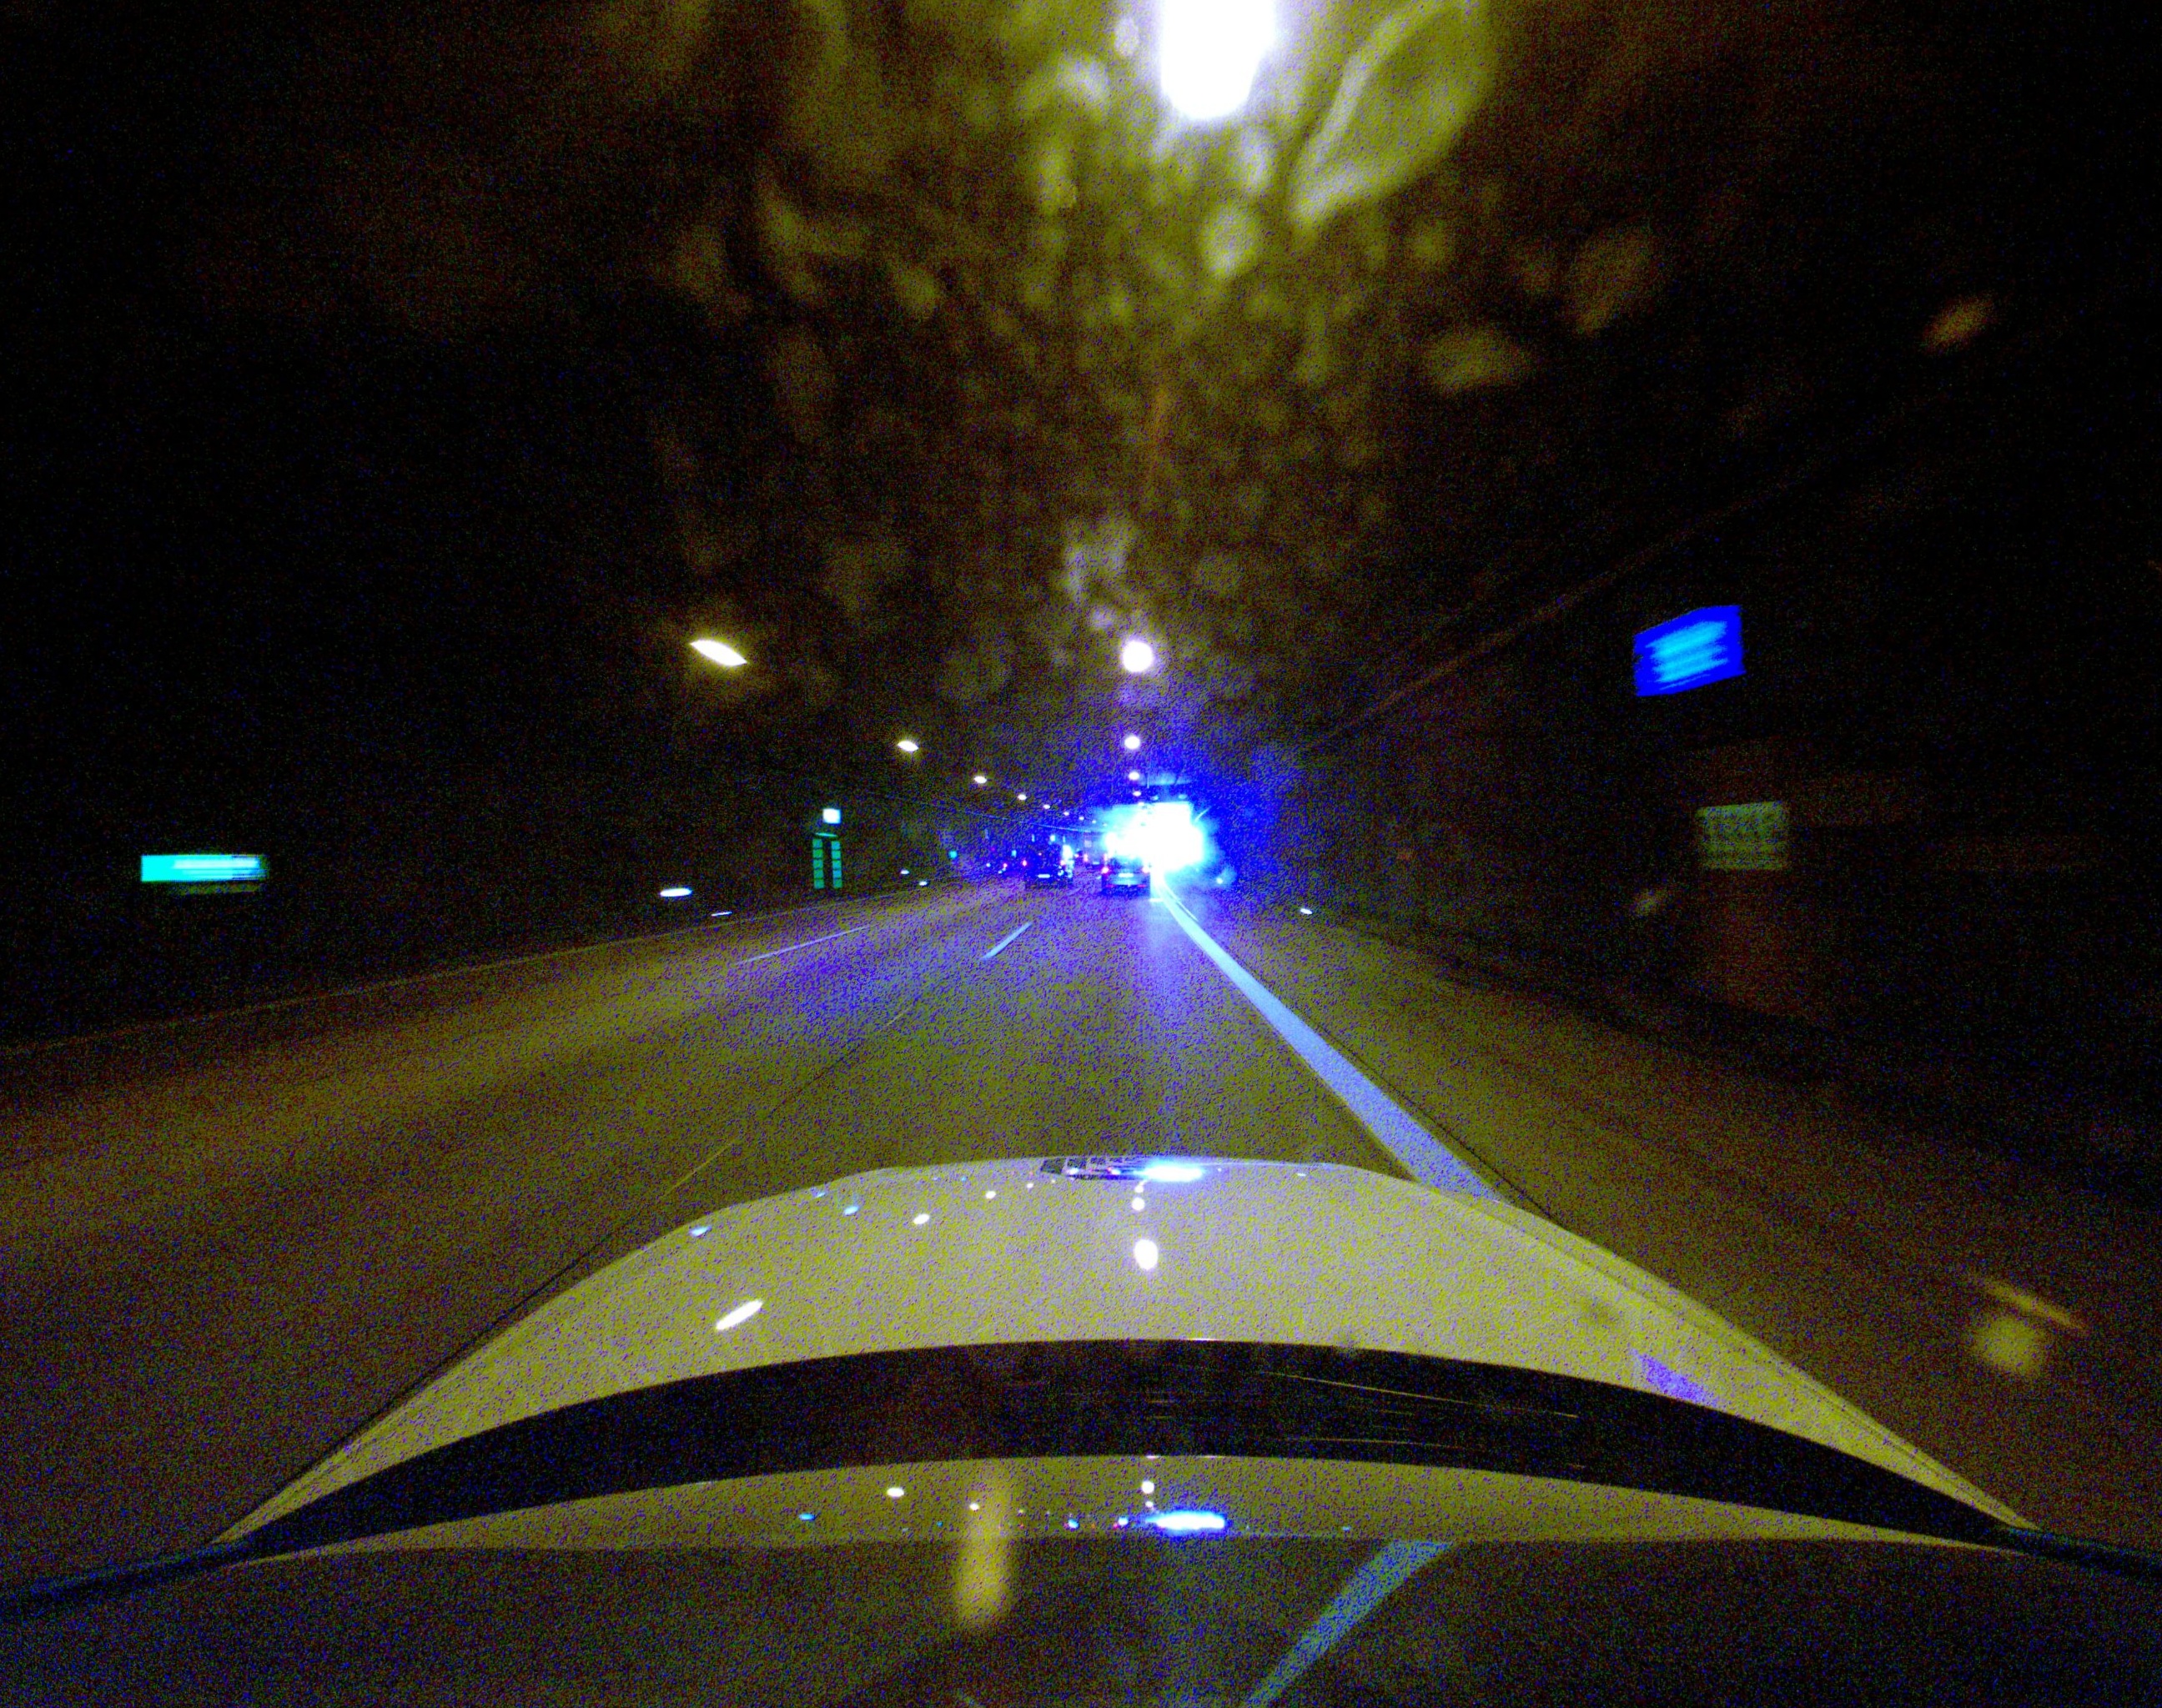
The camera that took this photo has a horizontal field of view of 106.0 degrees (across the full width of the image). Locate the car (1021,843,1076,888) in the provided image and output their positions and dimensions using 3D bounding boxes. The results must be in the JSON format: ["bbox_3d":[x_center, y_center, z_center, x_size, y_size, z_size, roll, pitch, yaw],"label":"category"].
[{"bbox_3d":[-1.435,0.493,37.180,1.900,1.944,3.878,-1,0,6],"label":"car"}]

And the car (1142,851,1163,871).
[{"bbox_3d":[7.025,0.716,79.784,1.940,1.772,4.006,-1,-2,6],"label":"car"}]

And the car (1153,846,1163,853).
[{"bbox_3d":[17.496,-1.044,185.621,1.919,1.642,4.011,-1,0,10],"label":"car"}]

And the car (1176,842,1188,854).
[{"bbox_3d":[18.736,-1.141,151.378,1.984,2.014,4.004,-1,-2,5],"label":"car"}]

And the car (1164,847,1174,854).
[{"bbox_3d":[21.835,-0.919,201.333,1.917,1.643,4.014,-1,-2,13],"label":"car"}]

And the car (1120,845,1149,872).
[{"bbox_3d":[3.872,0.319,57.960,1.848,1.854,4.007,-1,0,6],"label":"car"}]

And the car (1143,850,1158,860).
[{"bbox_3d":[11.743,0.186,137.647,1.980,1.632,4.012,-1,-1,11],"label":"car"}]

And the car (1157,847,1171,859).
[{"bbox_3d":[12.516,-0.182,122.425,1.919,1.643,4.009,-1,-2,8],"label":"car"}]

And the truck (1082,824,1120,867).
[{"bbox_3d":[1.895,-0.722,73.605,3.025,3.673,7.401,-1,0,4],"label":"truck"}]

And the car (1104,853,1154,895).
[{"bbox_3d":[1.844,0.708,30.737,1.734,1.464,3.876,-1,0,4],"label":"car"}]

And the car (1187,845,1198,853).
[{"bbox_3d":[23.635,-1.015,173.163,1.917,1.642,4.014,-1,0,13],"label":"car"}]

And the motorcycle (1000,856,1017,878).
[{"bbox_3d":[-4.587,0.834,51.512,0.679,1.297,2.401,-1,-2,5],"label":"motorcycle"}]

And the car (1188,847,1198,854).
[{"bbox_3d":[25.433,-0.749,184.925,1.919,1.642,4.010,1,-1,9],"label":"car"}]

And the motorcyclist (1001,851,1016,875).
[{"bbox_3d":[-4.576,0.595,51.548,0.773,1.453,1.070,-1,-2,6],"label":"motorcyclist"}]
